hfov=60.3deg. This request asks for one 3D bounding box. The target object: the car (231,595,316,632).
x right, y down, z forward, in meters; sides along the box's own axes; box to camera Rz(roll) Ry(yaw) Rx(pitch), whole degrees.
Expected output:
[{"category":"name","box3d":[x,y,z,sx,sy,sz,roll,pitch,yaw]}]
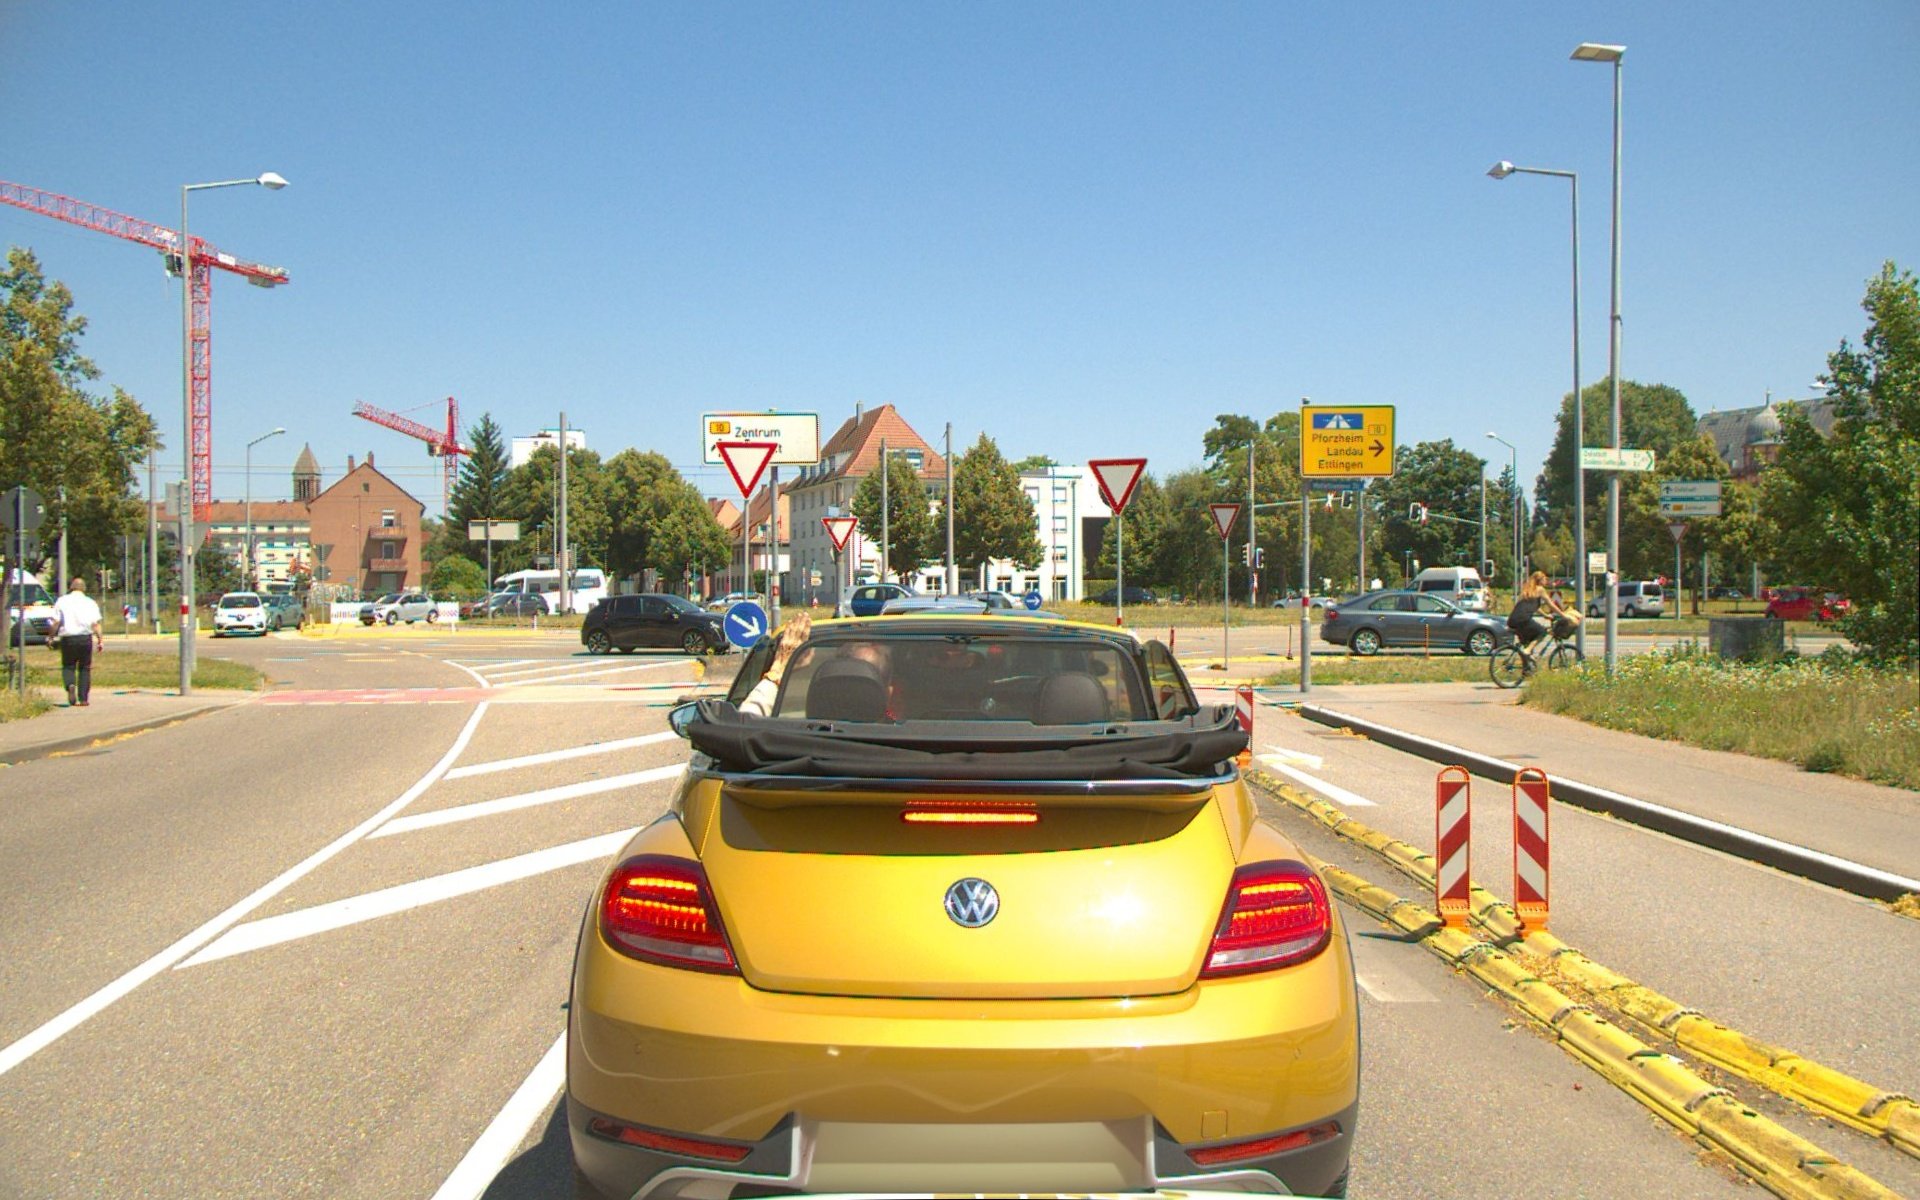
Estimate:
[{"category":"car","box3d":[-27.687,0.540,66.872,1.711,1.395,4.329,1,0,-2]}]

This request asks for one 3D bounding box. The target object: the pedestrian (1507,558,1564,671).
[{"category":"pedestrian","box3d":[8.928,0.229,25.679,0.717,1.721,0.575,1,-1,9]}]

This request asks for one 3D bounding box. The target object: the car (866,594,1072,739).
[{"category":"car","box3d":[0.062,0.667,18.564,2.023,1.406,4.257,1,0,-1]}]

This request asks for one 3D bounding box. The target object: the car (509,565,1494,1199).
[{"category":"car","box3d":[0.047,0.715,5.057,1.729,1.507,4.257,1,0,-1]}]

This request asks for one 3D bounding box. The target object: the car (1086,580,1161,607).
[{"category":"car","box3d":[10.208,-0.411,103.260,4.235,1.642,1.878,1,0,29]}]

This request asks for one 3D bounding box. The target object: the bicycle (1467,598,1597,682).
[{"category":"bicycle","box3d":[8.861,0.617,25.686,1.803,1.253,0.614,-2,-1,10]}]

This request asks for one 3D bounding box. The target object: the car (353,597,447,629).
[{"category":"car","box3d":[-26.398,0.611,78.085,1.693,1.427,4.267,1,0,26]}]

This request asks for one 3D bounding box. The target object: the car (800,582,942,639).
[{"category":"car","box3d":[-2.593,0.294,48.662,3.902,1.579,1.729,1,0,6]}]

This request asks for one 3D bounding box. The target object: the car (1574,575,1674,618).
[{"category":"car","box3d":[34.183,-0.191,85.270,1.955,2.107,5.305,1,0,-16]}]

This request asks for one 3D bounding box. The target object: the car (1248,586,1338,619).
[{"category":"car","box3d":[20.780,0.134,103.412,5.230,1.996,1.983,1,0,40]}]

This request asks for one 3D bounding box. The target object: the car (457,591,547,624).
[{"category":"car","box3d":[-24.971,0.411,90.196,4.386,1.766,1.829,1,0,-32]}]

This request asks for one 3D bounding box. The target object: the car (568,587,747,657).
[{"category":"car","box3d":[-7.336,0.526,40.269,3.902,1.579,1.730,0,2,14]}]

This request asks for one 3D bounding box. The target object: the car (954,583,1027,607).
[{"category":"car","box3d":[1.872,-0.285,100.198,4.225,1.395,1.753,1,0,6]}]

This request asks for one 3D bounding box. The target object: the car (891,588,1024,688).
[{"category":"car","box3d":[-0.076,0.559,27.602,2.023,1.506,4.542,-1,0,-1]}]

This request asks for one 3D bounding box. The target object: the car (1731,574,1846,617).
[{"category":"car","box3d":[33.912,-0.185,67.831,1.863,1.683,4.329,1,0,-15]}]

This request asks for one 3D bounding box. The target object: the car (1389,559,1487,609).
[{"category":"car","box3d":[24.583,-0.802,85.316,1.961,2.439,5.289,1,0,-23]}]

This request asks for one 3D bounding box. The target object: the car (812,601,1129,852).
[{"category":"car","box3d":[0.032,0.729,11.658,1.814,1.389,4.257,-1,0,-1]}]

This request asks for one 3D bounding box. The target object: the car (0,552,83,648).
[{"category":"car","box3d":[-31.047,-0.035,52.313,6.722,2.877,1.999,1,0,23]}]

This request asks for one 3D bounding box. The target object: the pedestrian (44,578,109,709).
[{"category":"pedestrian","box3d":[-12.641,0.608,23.661,0.631,1.817,0.956,1,-1,-38]}]

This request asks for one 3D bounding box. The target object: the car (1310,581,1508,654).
[{"category":"car","box3d":[10.355,0.395,38.370,4.237,1.579,1.729,1,0,8]}]

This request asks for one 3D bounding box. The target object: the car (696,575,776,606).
[{"category":"car","box3d":[-13.299,-0.546,98.189,4.379,1.766,1.832,1,0,-28]}]

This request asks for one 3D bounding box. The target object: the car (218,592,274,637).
[{"category":"car","box3d":[-25.952,0.518,60.083,1.753,1.554,3.841,-1,0,-25]}]

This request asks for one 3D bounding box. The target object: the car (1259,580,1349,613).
[{"category":"car","box3d":[21.454,-0.226,103.208,5.201,1.996,1.994,1,0,21]}]

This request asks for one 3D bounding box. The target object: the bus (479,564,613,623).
[{"category":"bus","box3d":[-23.745,-0.359,95.153,7.200,3.228,2.231,1,-1,-38]}]
